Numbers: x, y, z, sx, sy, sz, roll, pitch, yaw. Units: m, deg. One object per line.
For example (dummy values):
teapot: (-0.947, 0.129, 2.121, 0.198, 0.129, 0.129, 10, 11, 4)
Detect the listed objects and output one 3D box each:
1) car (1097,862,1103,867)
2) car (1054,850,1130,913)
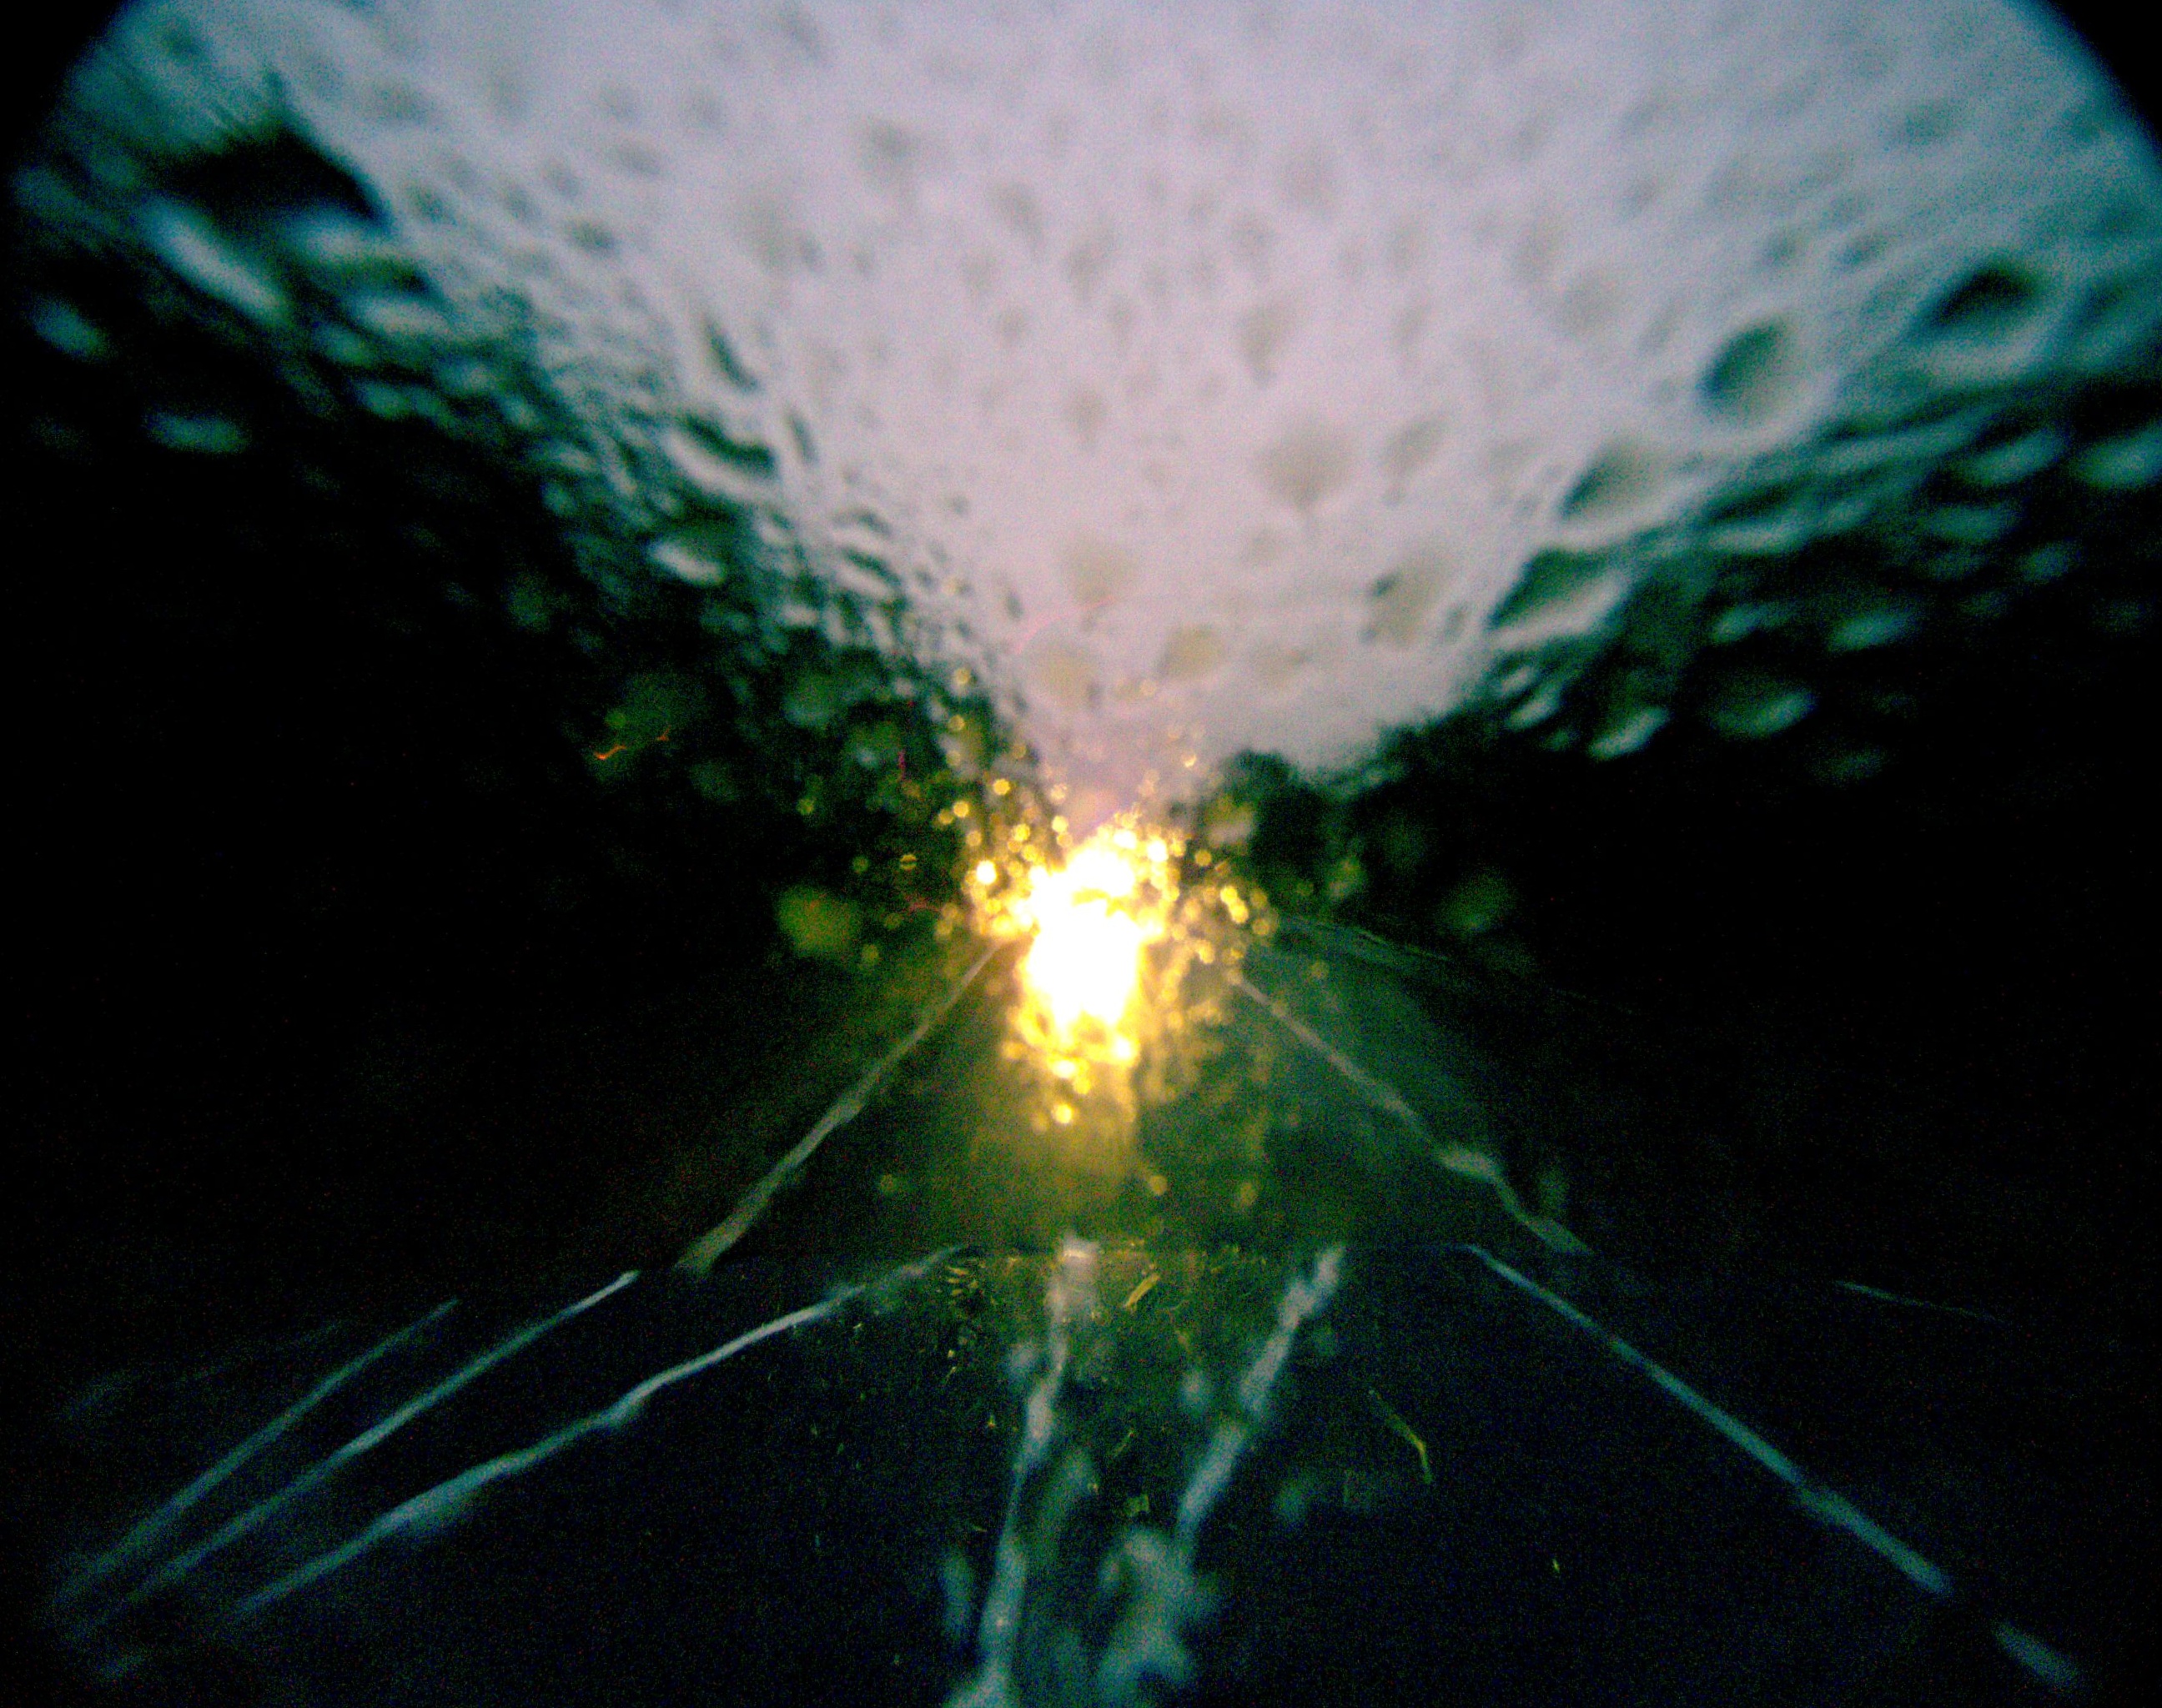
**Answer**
car: (5.688, 3.255, 231.219, 1.698, 1.551, 4.130, -2, -2, 1)
car: (0.303, 0.768, 22.826, 1.998, 1.672, 4.000, -2, 0, 0)
